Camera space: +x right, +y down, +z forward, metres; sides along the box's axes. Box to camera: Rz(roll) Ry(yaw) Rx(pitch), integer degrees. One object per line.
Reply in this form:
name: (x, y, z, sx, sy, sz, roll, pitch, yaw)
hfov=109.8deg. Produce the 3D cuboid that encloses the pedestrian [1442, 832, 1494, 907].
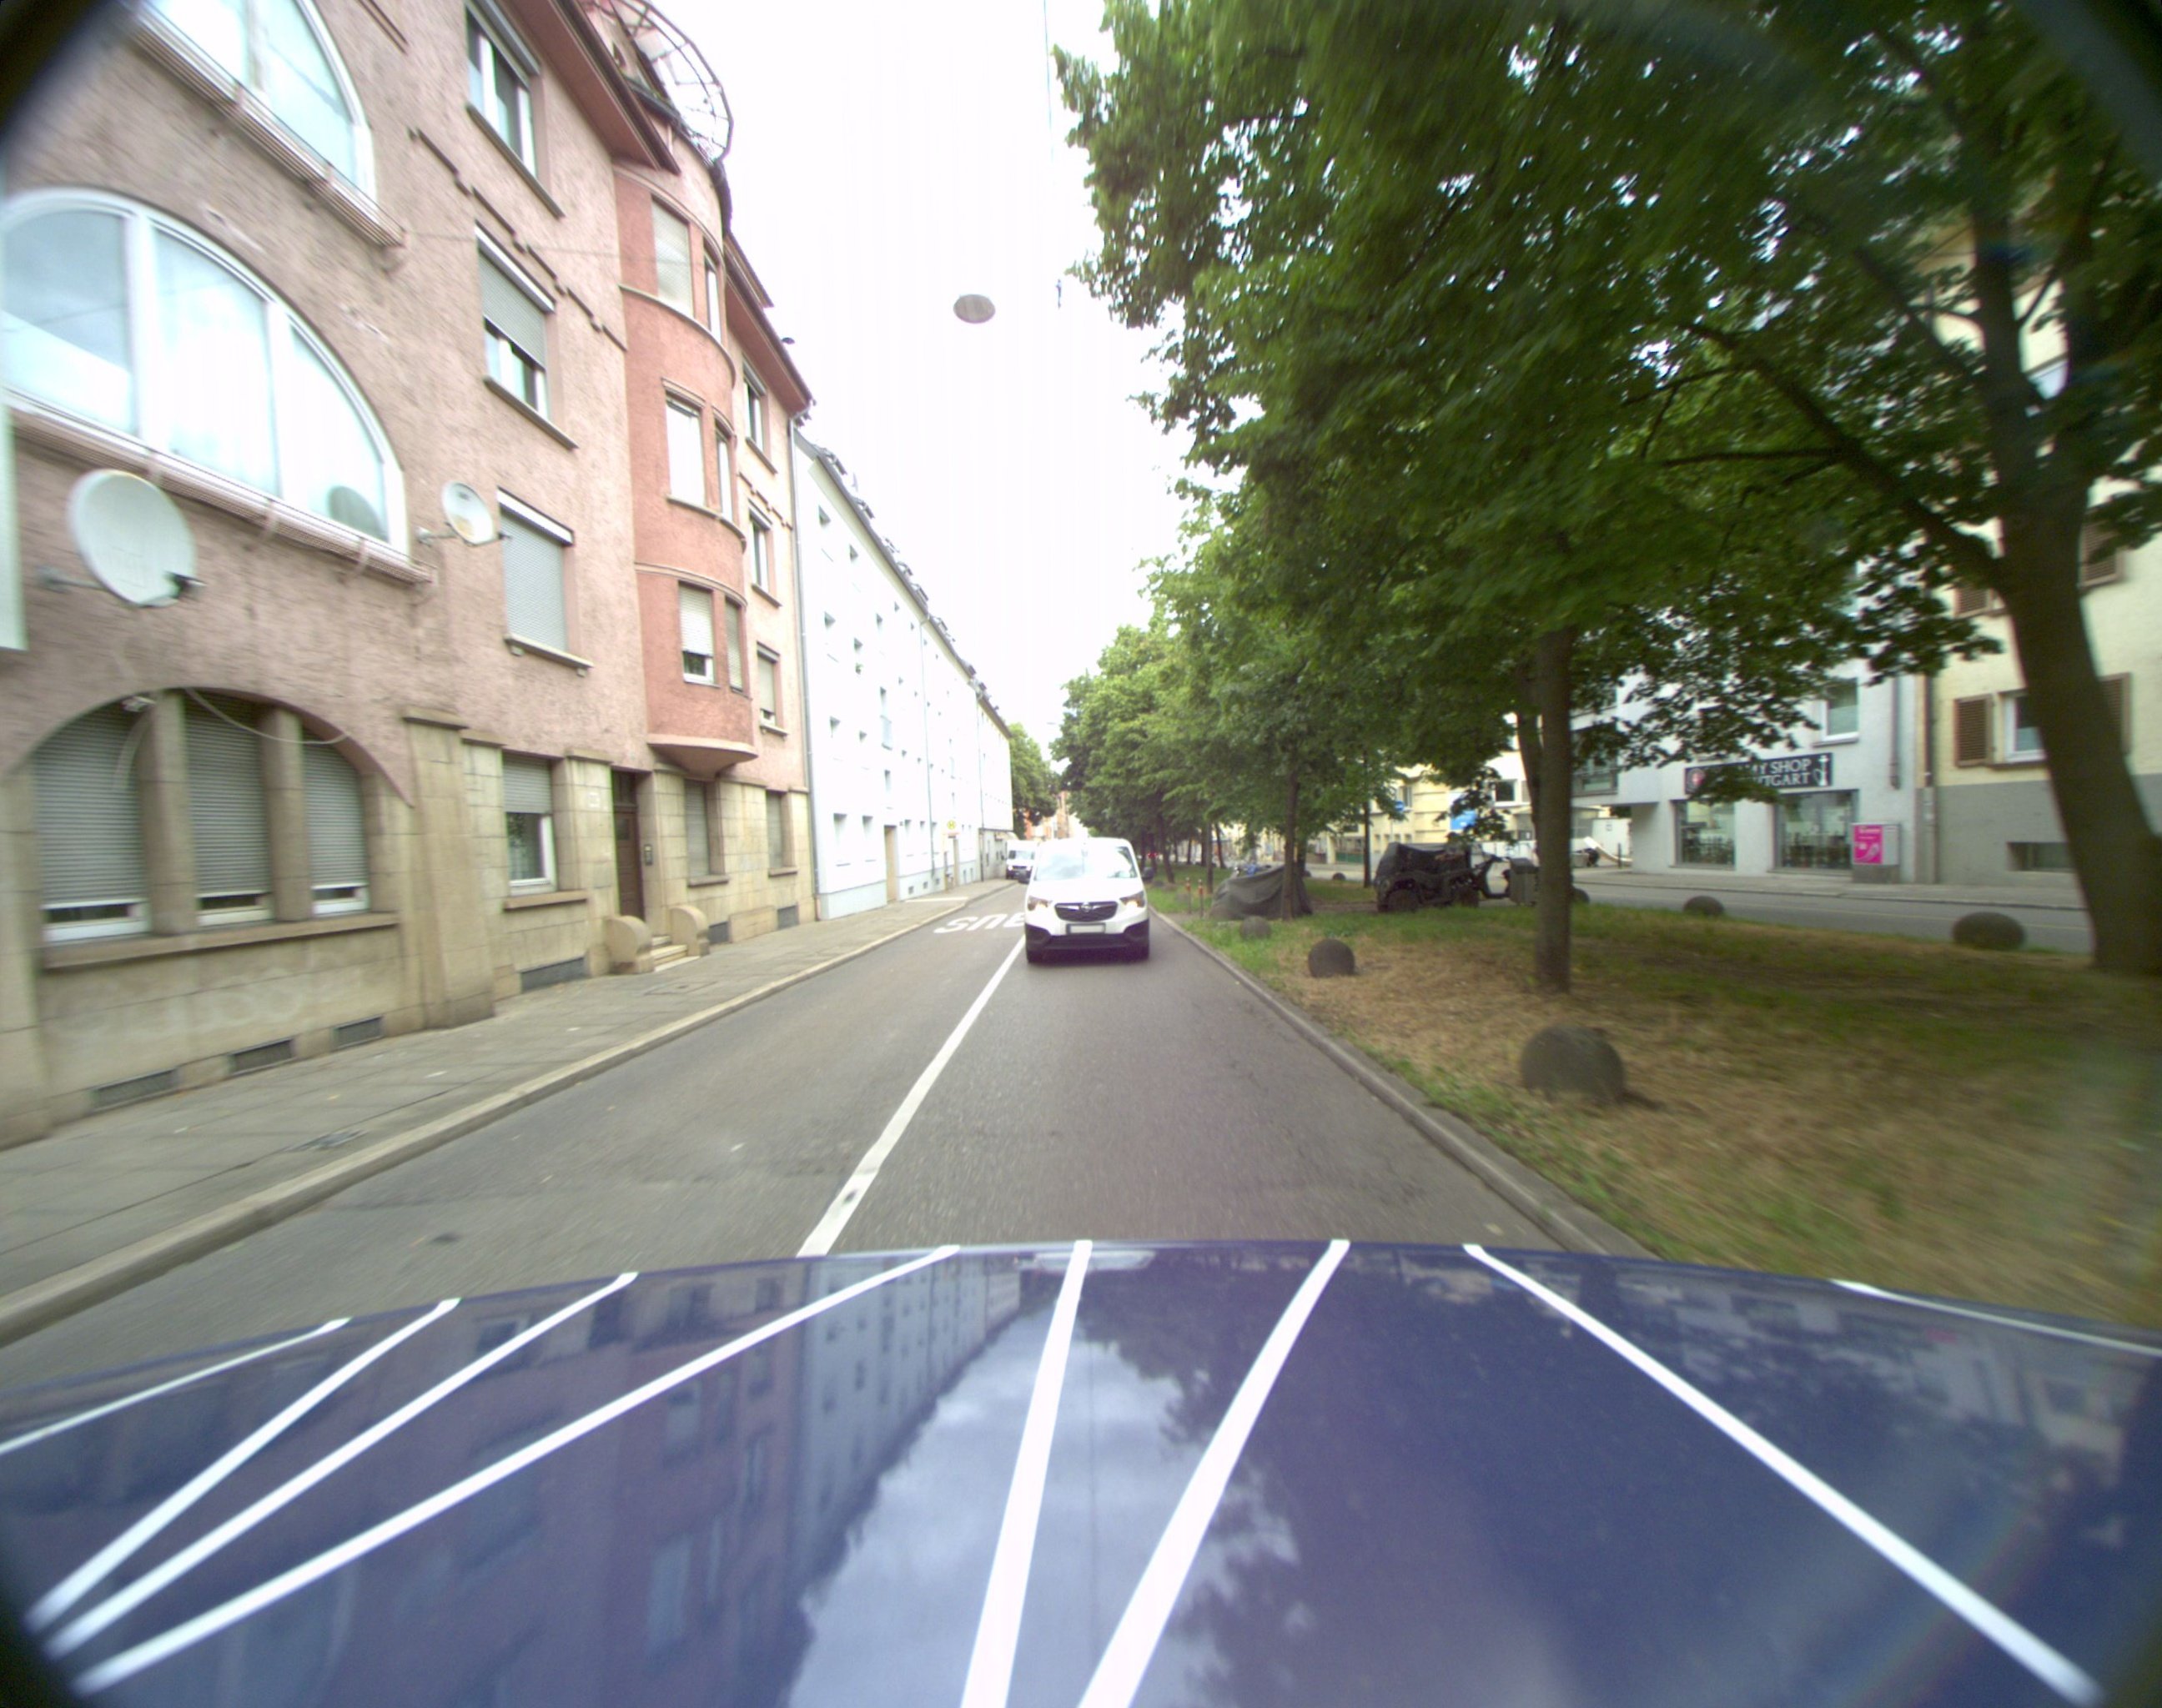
pedestrian: (8.673, 0.347, 17.040, 0.636, 1.603, 0.764, -4, 0, -7)

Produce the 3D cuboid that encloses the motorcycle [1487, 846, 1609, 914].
motorcycle: (9.392, 0.515, 15.315, 2.115, 1.228, 0.516, -3, 0, -1)

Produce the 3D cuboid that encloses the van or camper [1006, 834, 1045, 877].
van or camper: (-3.932, 0.115, 55.295, 2.487, 2.786, 7.236, -3, 0, -3)

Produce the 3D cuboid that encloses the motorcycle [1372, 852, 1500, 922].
motorcycle: (6.860, 0.625, 14.773, 2.033, 1.228, 0.897, -2, 0, 5)

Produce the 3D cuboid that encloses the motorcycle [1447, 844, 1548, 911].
motorcycle: (8.707, 0.475, 15.917, 1.767, 1.331, 0.624, -2, 1, -1)

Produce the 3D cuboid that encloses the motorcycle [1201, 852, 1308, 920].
motorcycle: (3.952, 0.719, 17.452, 2.199, 1.430, 0.874, -3, 0, 3)

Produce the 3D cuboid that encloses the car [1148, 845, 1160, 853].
car: (16.003, -0.994, 166.847, 1.954, 1.619, 4.365, -2, 0, 0)

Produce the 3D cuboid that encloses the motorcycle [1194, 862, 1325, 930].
motorcycle: (3.595, 0.838, 15.471, 2.361, 1.228, 1.034, -3, -1, -1)

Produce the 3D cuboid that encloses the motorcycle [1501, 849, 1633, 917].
motorcycle: (9.352, 0.545, 14.658, 2.136, 1.228, 0.622, -2, 2, 0)

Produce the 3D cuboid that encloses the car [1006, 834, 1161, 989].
car: (0.247, 0.683, 11.274, 1.745, 1.830, 4.345, -1, 0, 7)

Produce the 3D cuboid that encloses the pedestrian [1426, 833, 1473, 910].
pedestrian: (8.025, 0.378, 16.559, 0.664, 1.607, 0.579, -3, 0, -3)

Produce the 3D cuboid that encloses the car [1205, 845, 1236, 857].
car: (21.247, -0.427, 116.070, 4.298, 1.411, 2.048, -5, -1, 3)

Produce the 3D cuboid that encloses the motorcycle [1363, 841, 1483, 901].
motorcycle: (8.281, 0.397, 18.494, 2.388, 1.309, 1.045, -3, 0, -1)

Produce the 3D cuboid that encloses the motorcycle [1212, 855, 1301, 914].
motorcycle: (4.243, 0.716, 18.473, 1.929, 1.289, 0.893, -2, 2, -1)
